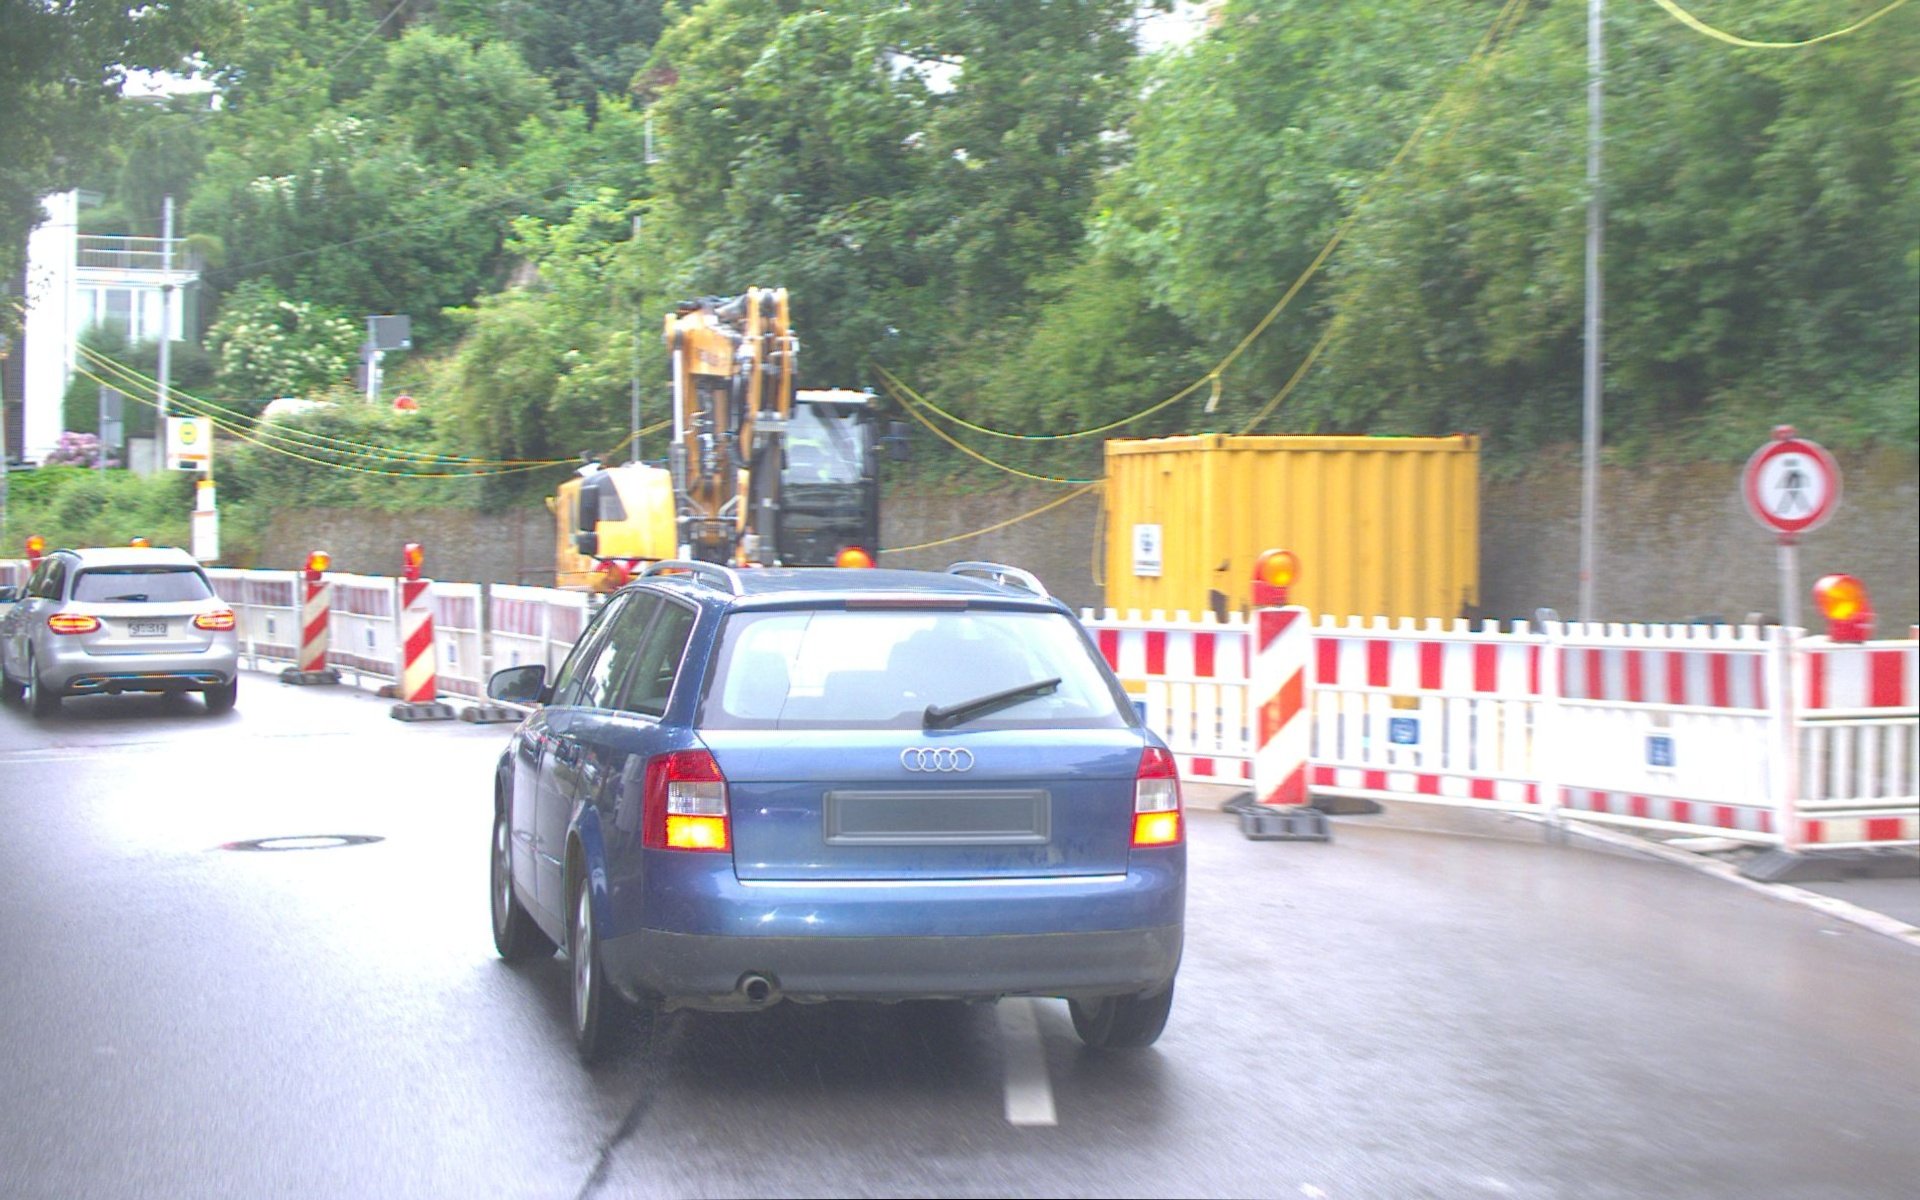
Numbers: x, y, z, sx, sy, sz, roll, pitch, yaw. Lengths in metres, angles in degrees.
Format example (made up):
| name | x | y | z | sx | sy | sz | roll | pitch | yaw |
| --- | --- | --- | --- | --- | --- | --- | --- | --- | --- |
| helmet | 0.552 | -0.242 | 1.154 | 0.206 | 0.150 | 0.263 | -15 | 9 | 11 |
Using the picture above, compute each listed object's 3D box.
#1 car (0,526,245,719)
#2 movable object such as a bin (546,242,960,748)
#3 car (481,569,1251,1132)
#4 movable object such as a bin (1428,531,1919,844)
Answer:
| name | x | y | z | sx | sy | sz | roll | pitch | yaw |
| --- | --- | --- | --- | --- | --- | --- | --- | --- | --- |
| car | -7.848 | 0.139 | 31.572 | 1.926 | 1.612 | 4.322 | -1 | 2 | -19 |
| movable object such as a bin | -2.068 | -0.947 | 31.088 | 2.818 | 4.000 | 7.329 | -1 | 2 | -10 |
| car | -0.500 | 0.635 | 11.029 | 1.785 | 1.437 | 3.965 | 0 | 1 | -12 |
| movable object such as a bin | 4.197 | 0.394 | 19.264 | 1.993 | 1.514 | 4.001 | 0 | 2 | -10 |
